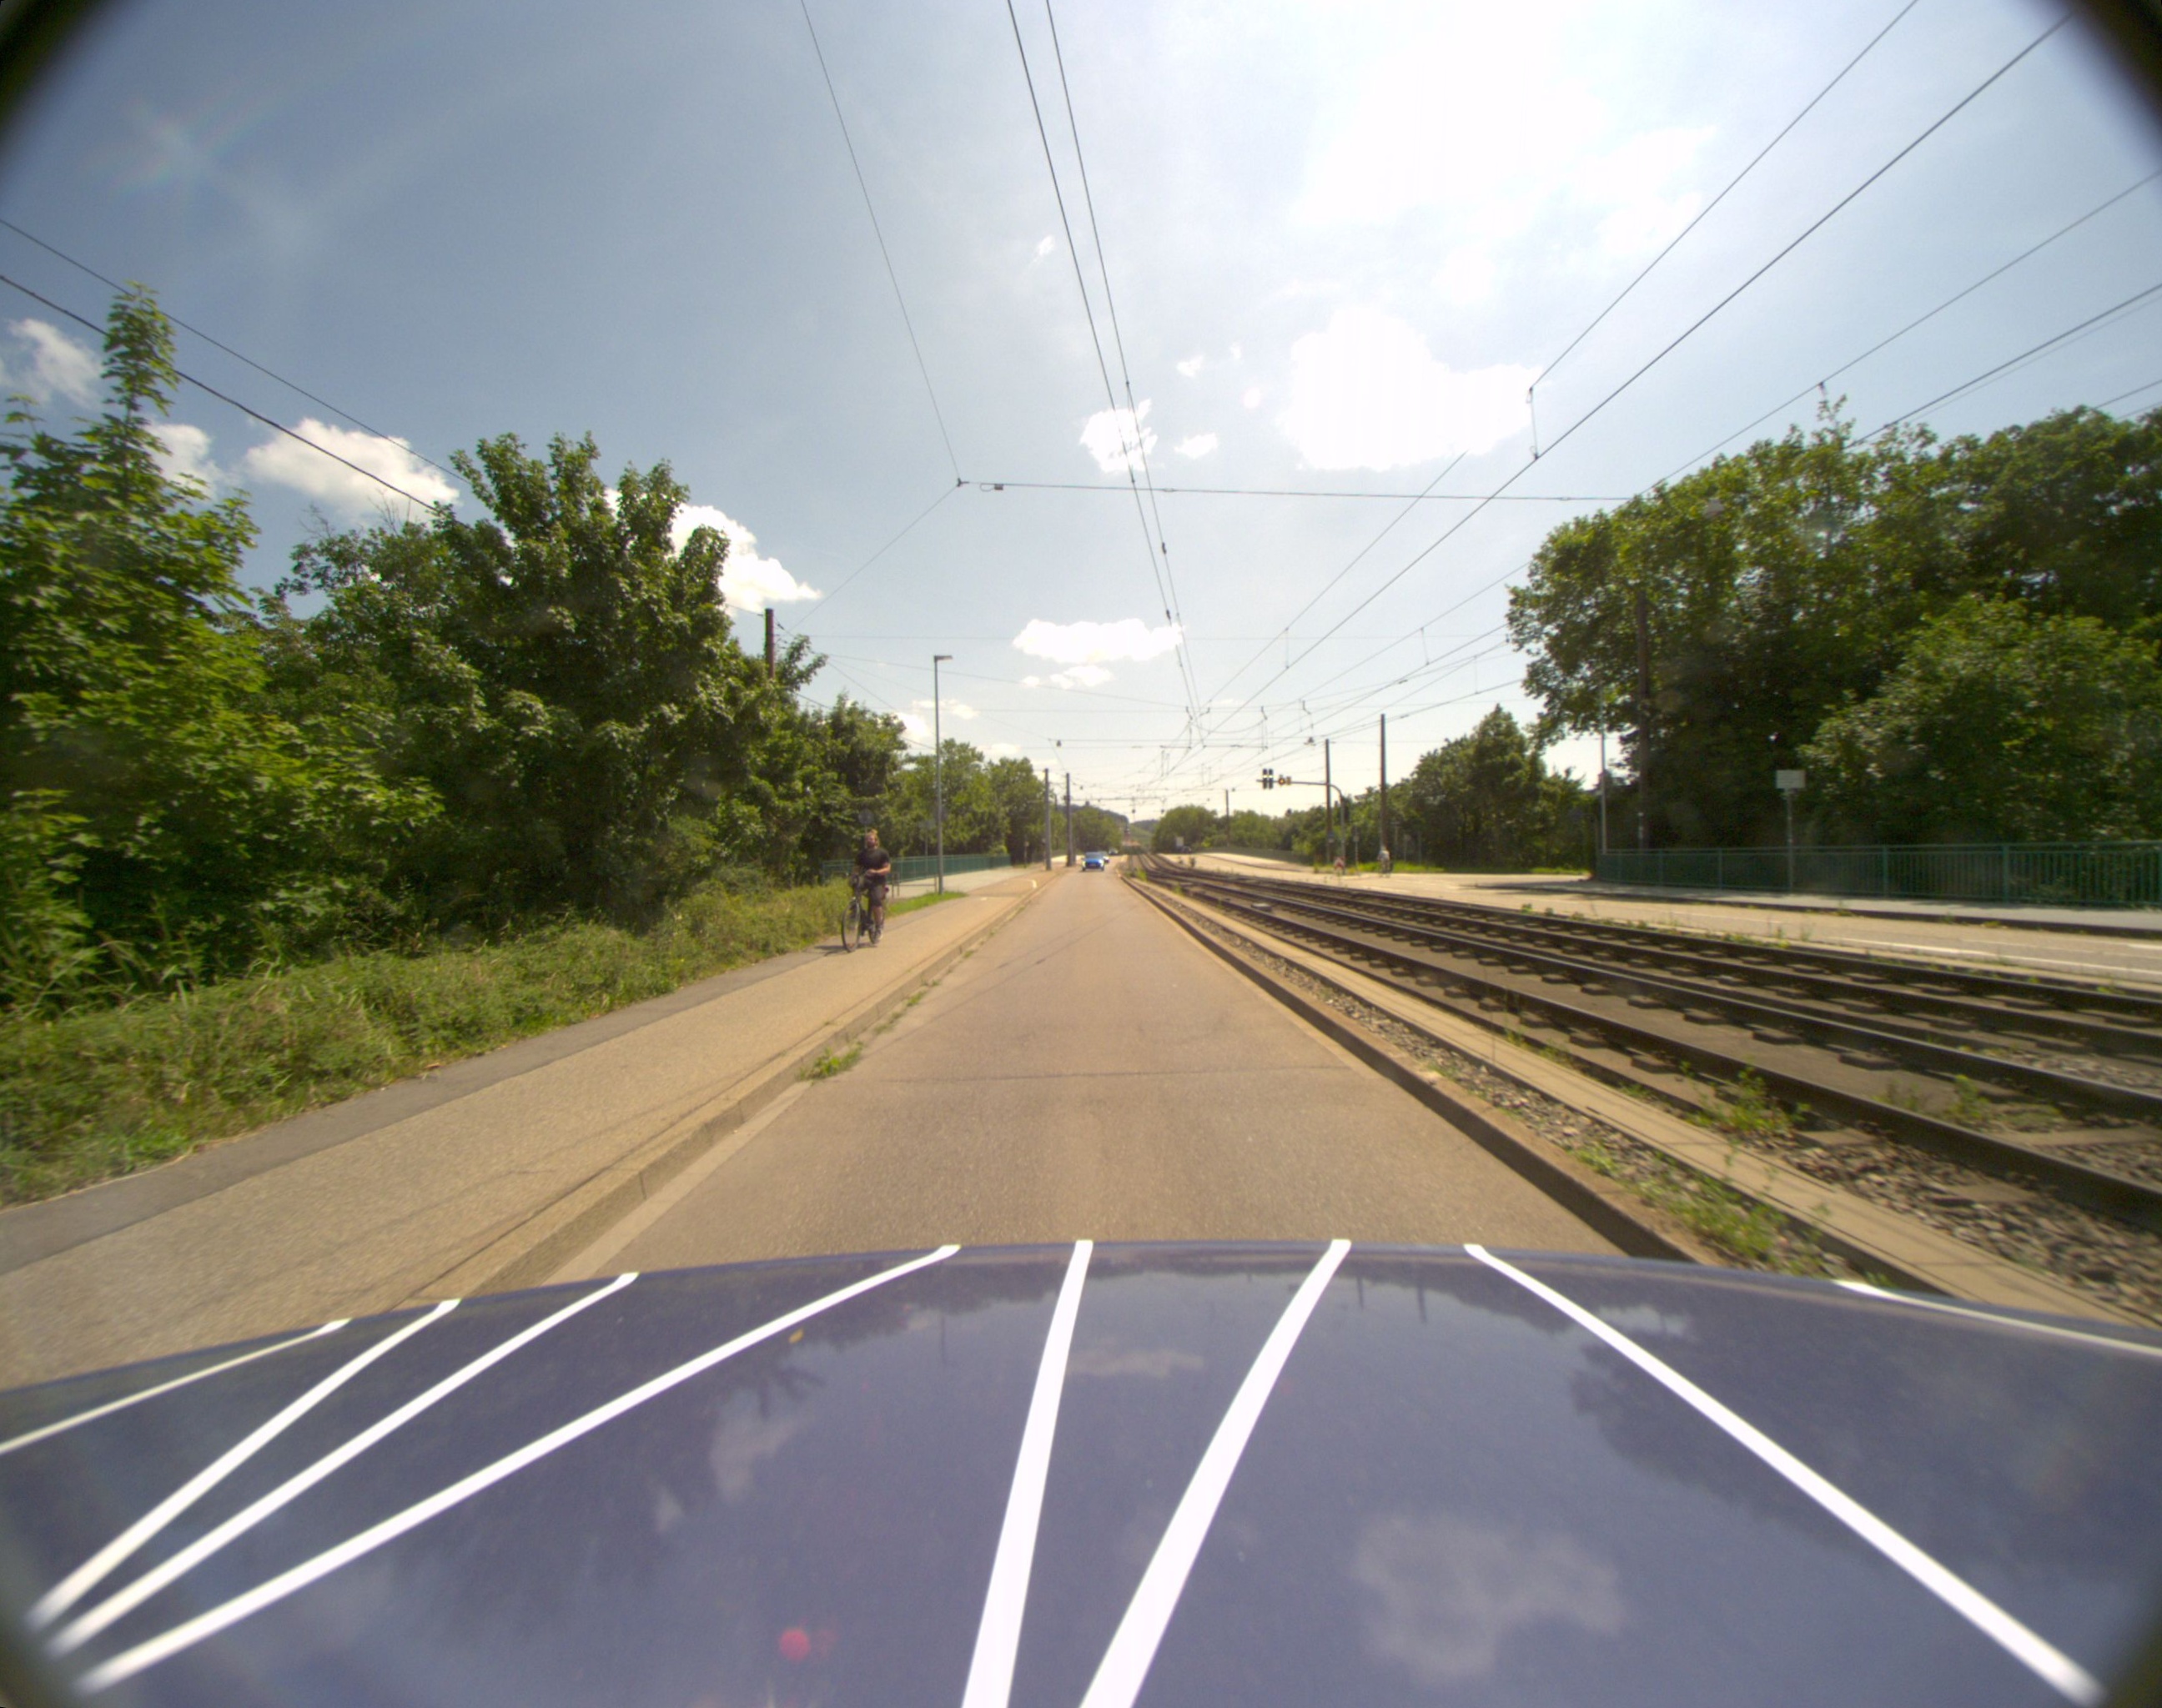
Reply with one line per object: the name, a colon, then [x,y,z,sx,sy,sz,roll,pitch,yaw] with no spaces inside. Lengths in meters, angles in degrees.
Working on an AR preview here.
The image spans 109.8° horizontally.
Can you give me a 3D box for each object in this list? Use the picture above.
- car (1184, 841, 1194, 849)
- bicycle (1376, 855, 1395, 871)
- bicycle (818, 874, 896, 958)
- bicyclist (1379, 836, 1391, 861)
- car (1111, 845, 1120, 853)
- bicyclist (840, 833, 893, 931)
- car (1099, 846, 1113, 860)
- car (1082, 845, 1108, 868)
car: [20.914,-1.835,147.187,1.708,1.501,3.734,-1,1,5]
bicycle: [18.011,0.516,45.004,0.470,0.863,1.743,-1,1,3]
bicycle: [-3.373,0.900,11.597,0.433,1.145,1.856,-2,-1,5]
bicyclist: [17.992,-0.329,45.029,0.457,1.465,0.633,-1,1,3]
car: [7.322,-1.006,160.573,1.730,1.696,4.000,0,0,1]
bicyclist: [-3.352,0.432,11.899,0.586,1.486,0.558,-2,0,5]
car: [3.240,-0.106,99.469,1.683,1.737,3.686,-2,-1,1]
car: [1.107,0.241,58.372,1.864,1.630,4.001,-2,-1,3]
